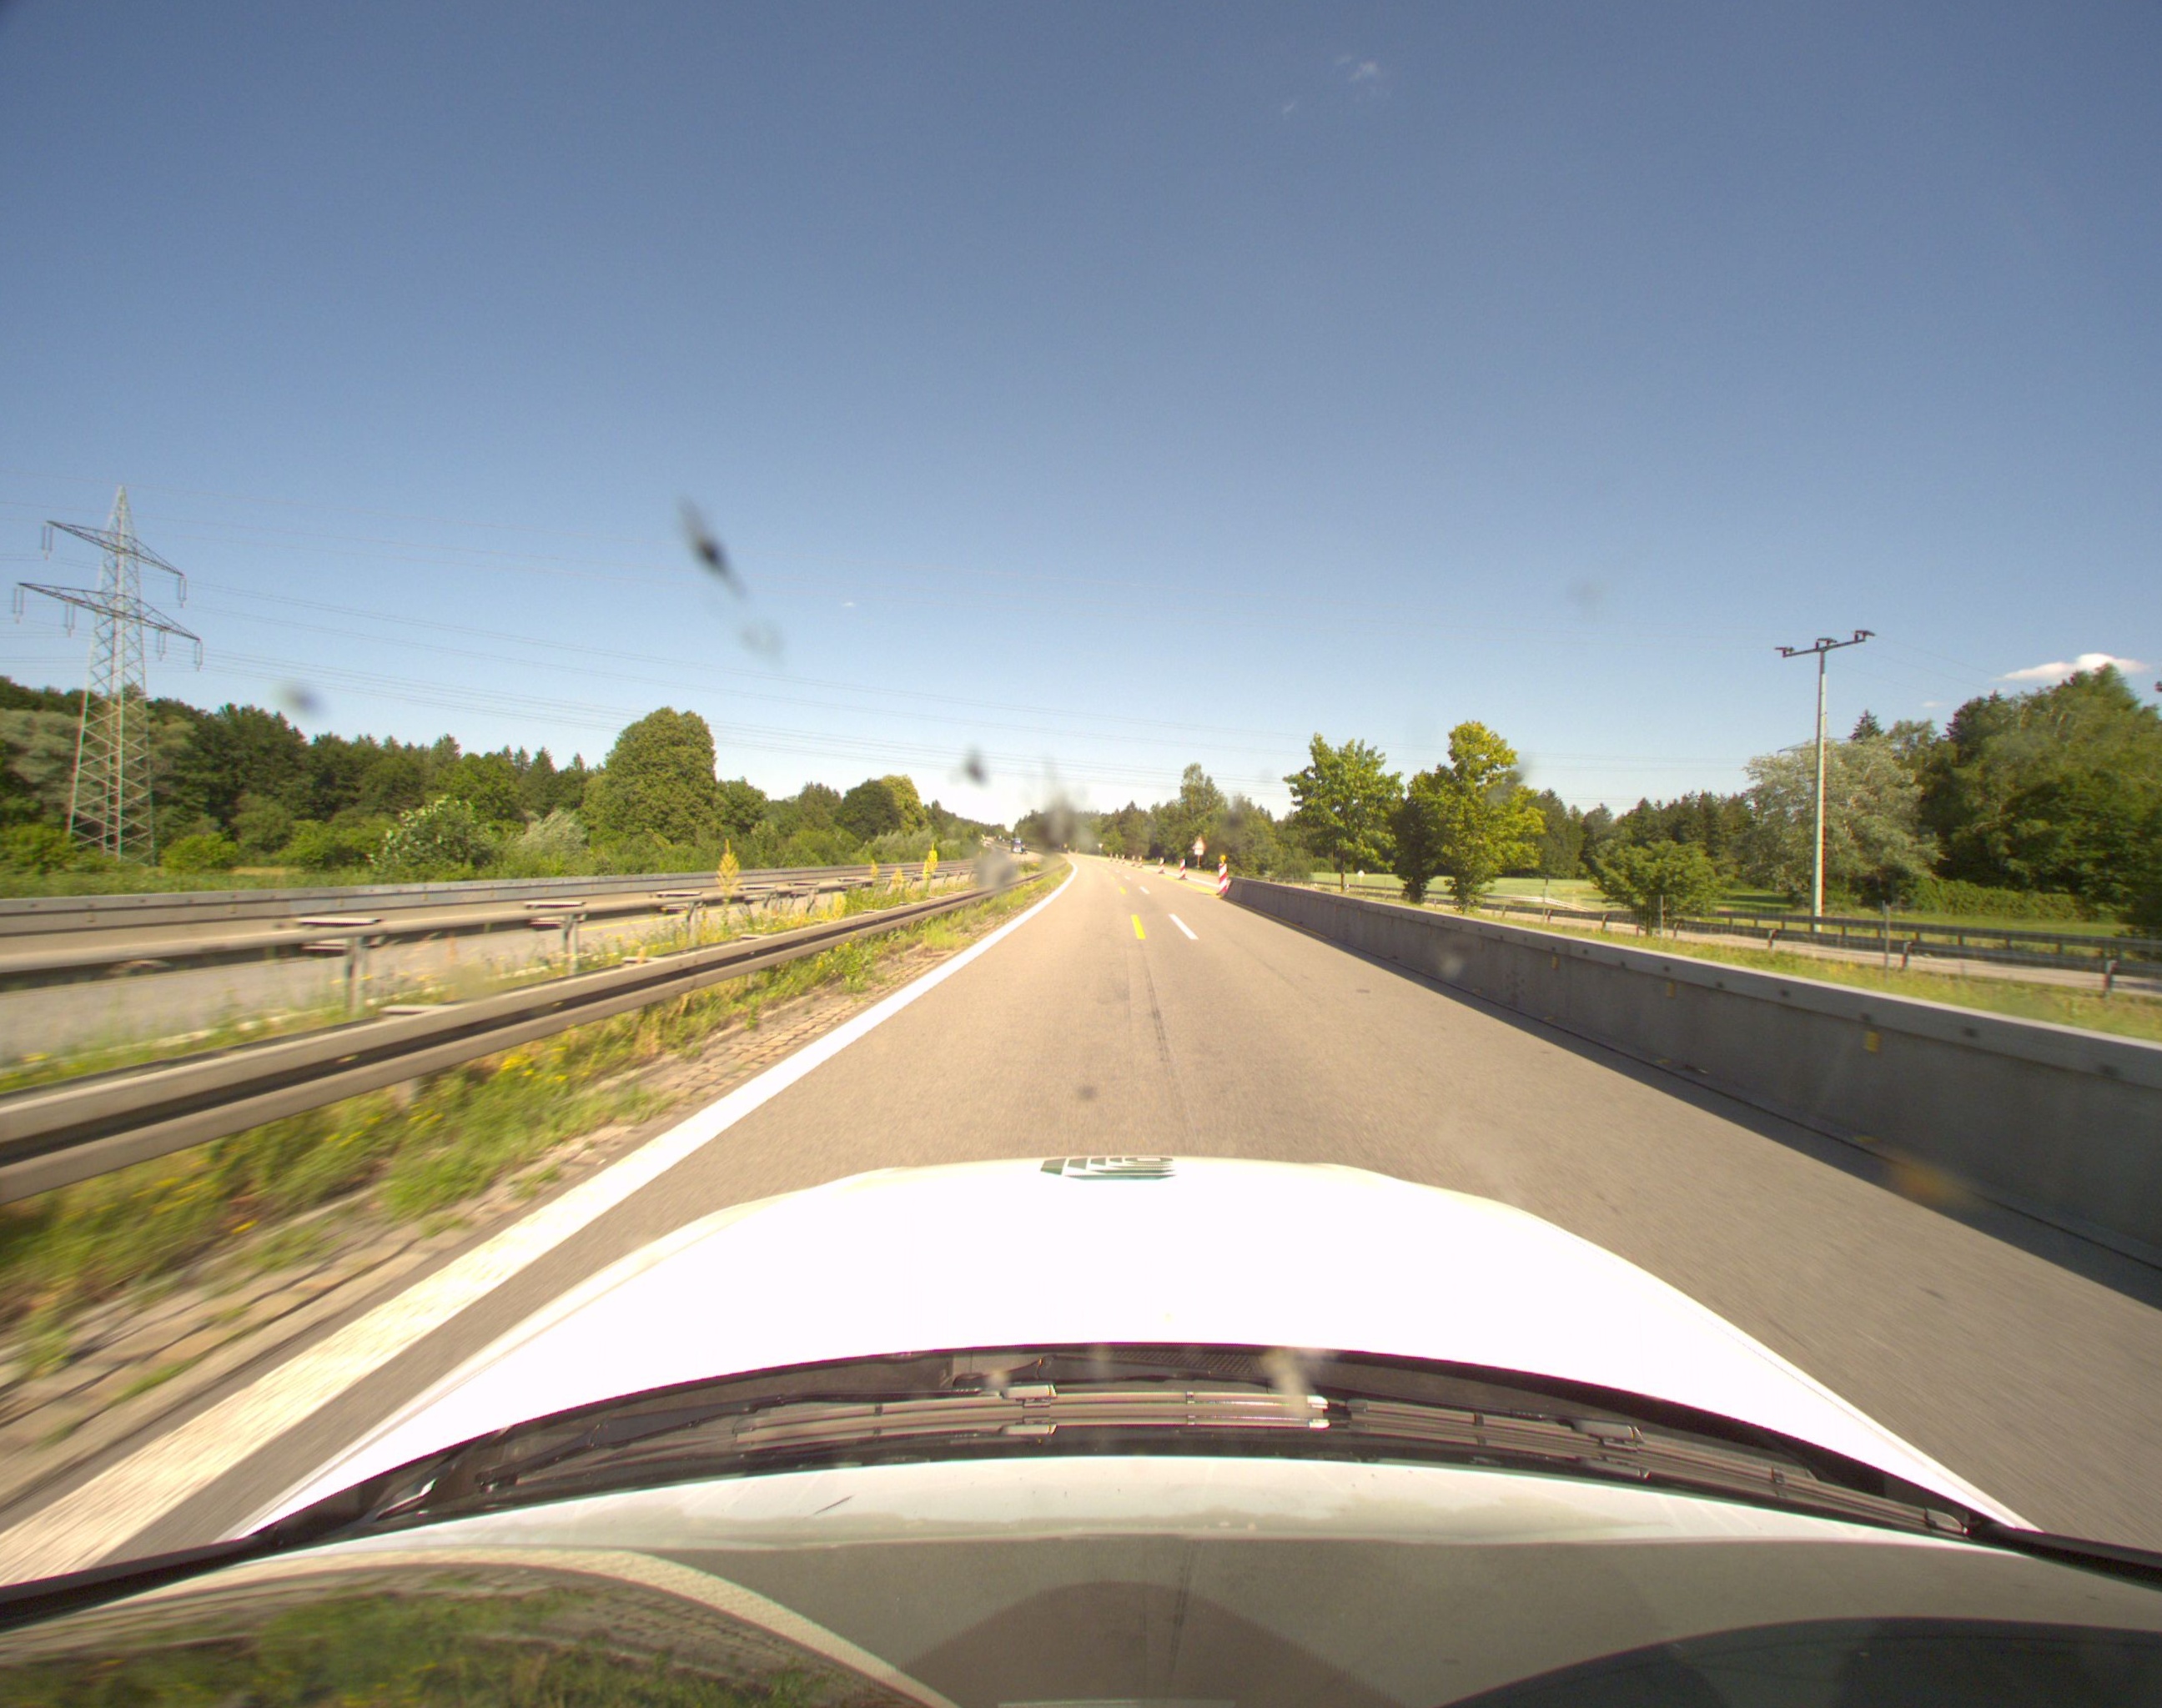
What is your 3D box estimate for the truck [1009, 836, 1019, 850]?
[{"bbox_3d":[-18.888,-3.068,231.091,2.626,3.959,5.836,0,0,-3],"label":"truck"}]
